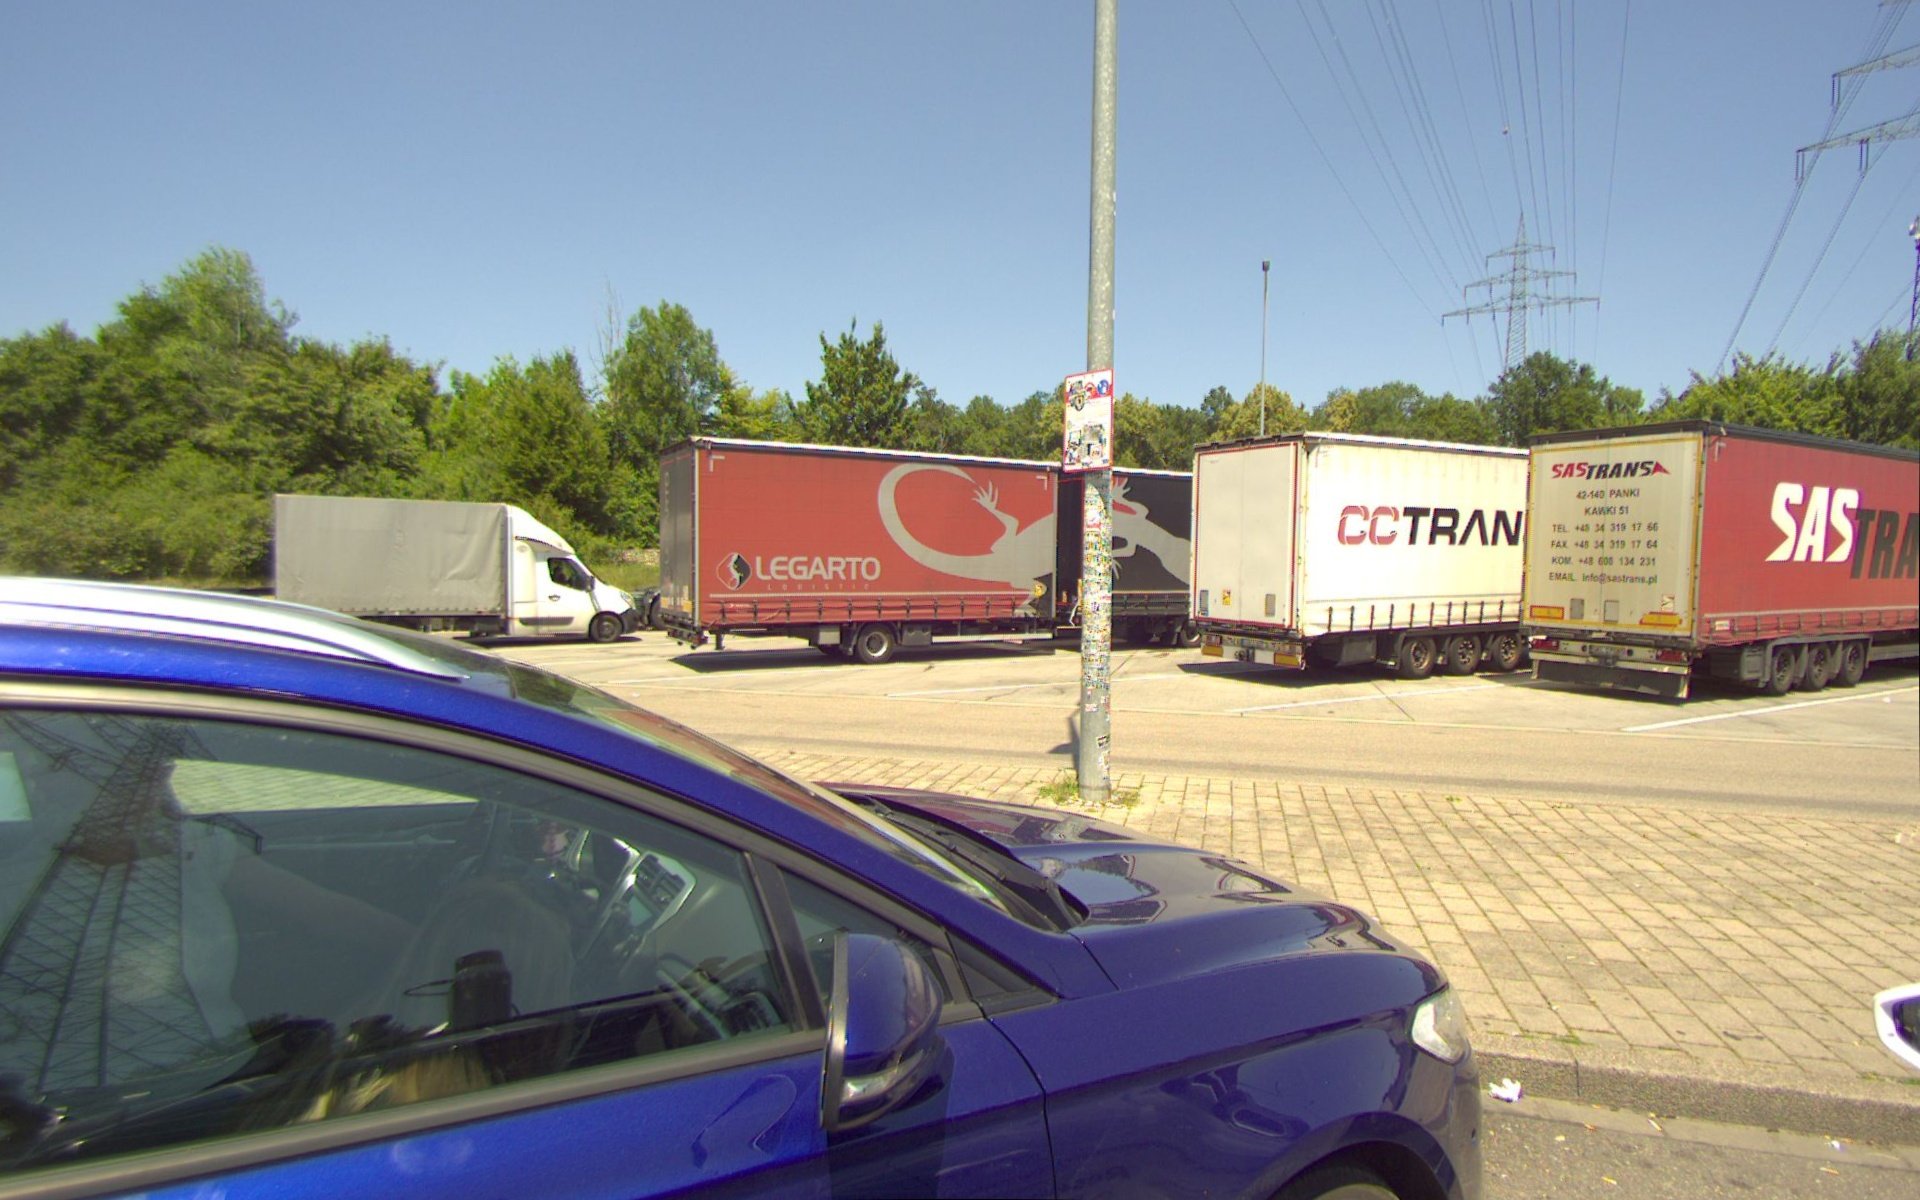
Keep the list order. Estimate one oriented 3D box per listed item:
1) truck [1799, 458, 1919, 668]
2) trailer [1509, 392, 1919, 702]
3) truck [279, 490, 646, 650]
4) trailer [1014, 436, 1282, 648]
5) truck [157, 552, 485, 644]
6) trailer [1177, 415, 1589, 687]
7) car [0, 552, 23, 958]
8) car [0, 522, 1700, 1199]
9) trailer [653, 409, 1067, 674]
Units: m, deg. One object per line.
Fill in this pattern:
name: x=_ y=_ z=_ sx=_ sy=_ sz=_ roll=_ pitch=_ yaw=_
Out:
truck: x=21.431 y=-0.729 z=22.061 sx=5.824 sy=4.189 sz=2.792 roll=0 pitch=0 yaw=-30
trailer: x=15.248 y=-0.703 z=18.427 sx=13.046 sy=4.276 sz=2.786 roll=0 pitch=0 yaw=-31
truck: x=-11.052 y=-0.593 z=22.830 sx=7.171 sy=3.194 sz=2.160 roll=0 pitch=1 yaw=-30
trailer: x=4.556 y=-1.232 z=24.099 sx=6.076 sy=4.505 sz=2.665 roll=0 pitch=1 yaw=-30
truck: x=-15.316 y=-0.033 z=24.594 sx=6.538 sy=2.040 sz=1.984 roll=0 pitch=0 yaw=-30
trailer: x=8.098 y=-0.759 z=18.829 sx=8.189 sy=4.208 sz=2.741 roll=0 pitch=1 yaw=-30
car: x=-4.355 y=0.513 z=2.232 sx=3.077 sy=1.378 sz=1.334 roll=1 pitch=0 yaw=-30
car: x=-0.962 y=0.662 z=1.482 sx=4.362 sy=1.437 sz=1.731 roll=1 pitch=0 yaw=-30
trailer: x=-1.843 y=-0.977 z=20.279 sx=7.963 sy=4.510 sz=2.648 roll=0 pitch=0 yaw=-31
